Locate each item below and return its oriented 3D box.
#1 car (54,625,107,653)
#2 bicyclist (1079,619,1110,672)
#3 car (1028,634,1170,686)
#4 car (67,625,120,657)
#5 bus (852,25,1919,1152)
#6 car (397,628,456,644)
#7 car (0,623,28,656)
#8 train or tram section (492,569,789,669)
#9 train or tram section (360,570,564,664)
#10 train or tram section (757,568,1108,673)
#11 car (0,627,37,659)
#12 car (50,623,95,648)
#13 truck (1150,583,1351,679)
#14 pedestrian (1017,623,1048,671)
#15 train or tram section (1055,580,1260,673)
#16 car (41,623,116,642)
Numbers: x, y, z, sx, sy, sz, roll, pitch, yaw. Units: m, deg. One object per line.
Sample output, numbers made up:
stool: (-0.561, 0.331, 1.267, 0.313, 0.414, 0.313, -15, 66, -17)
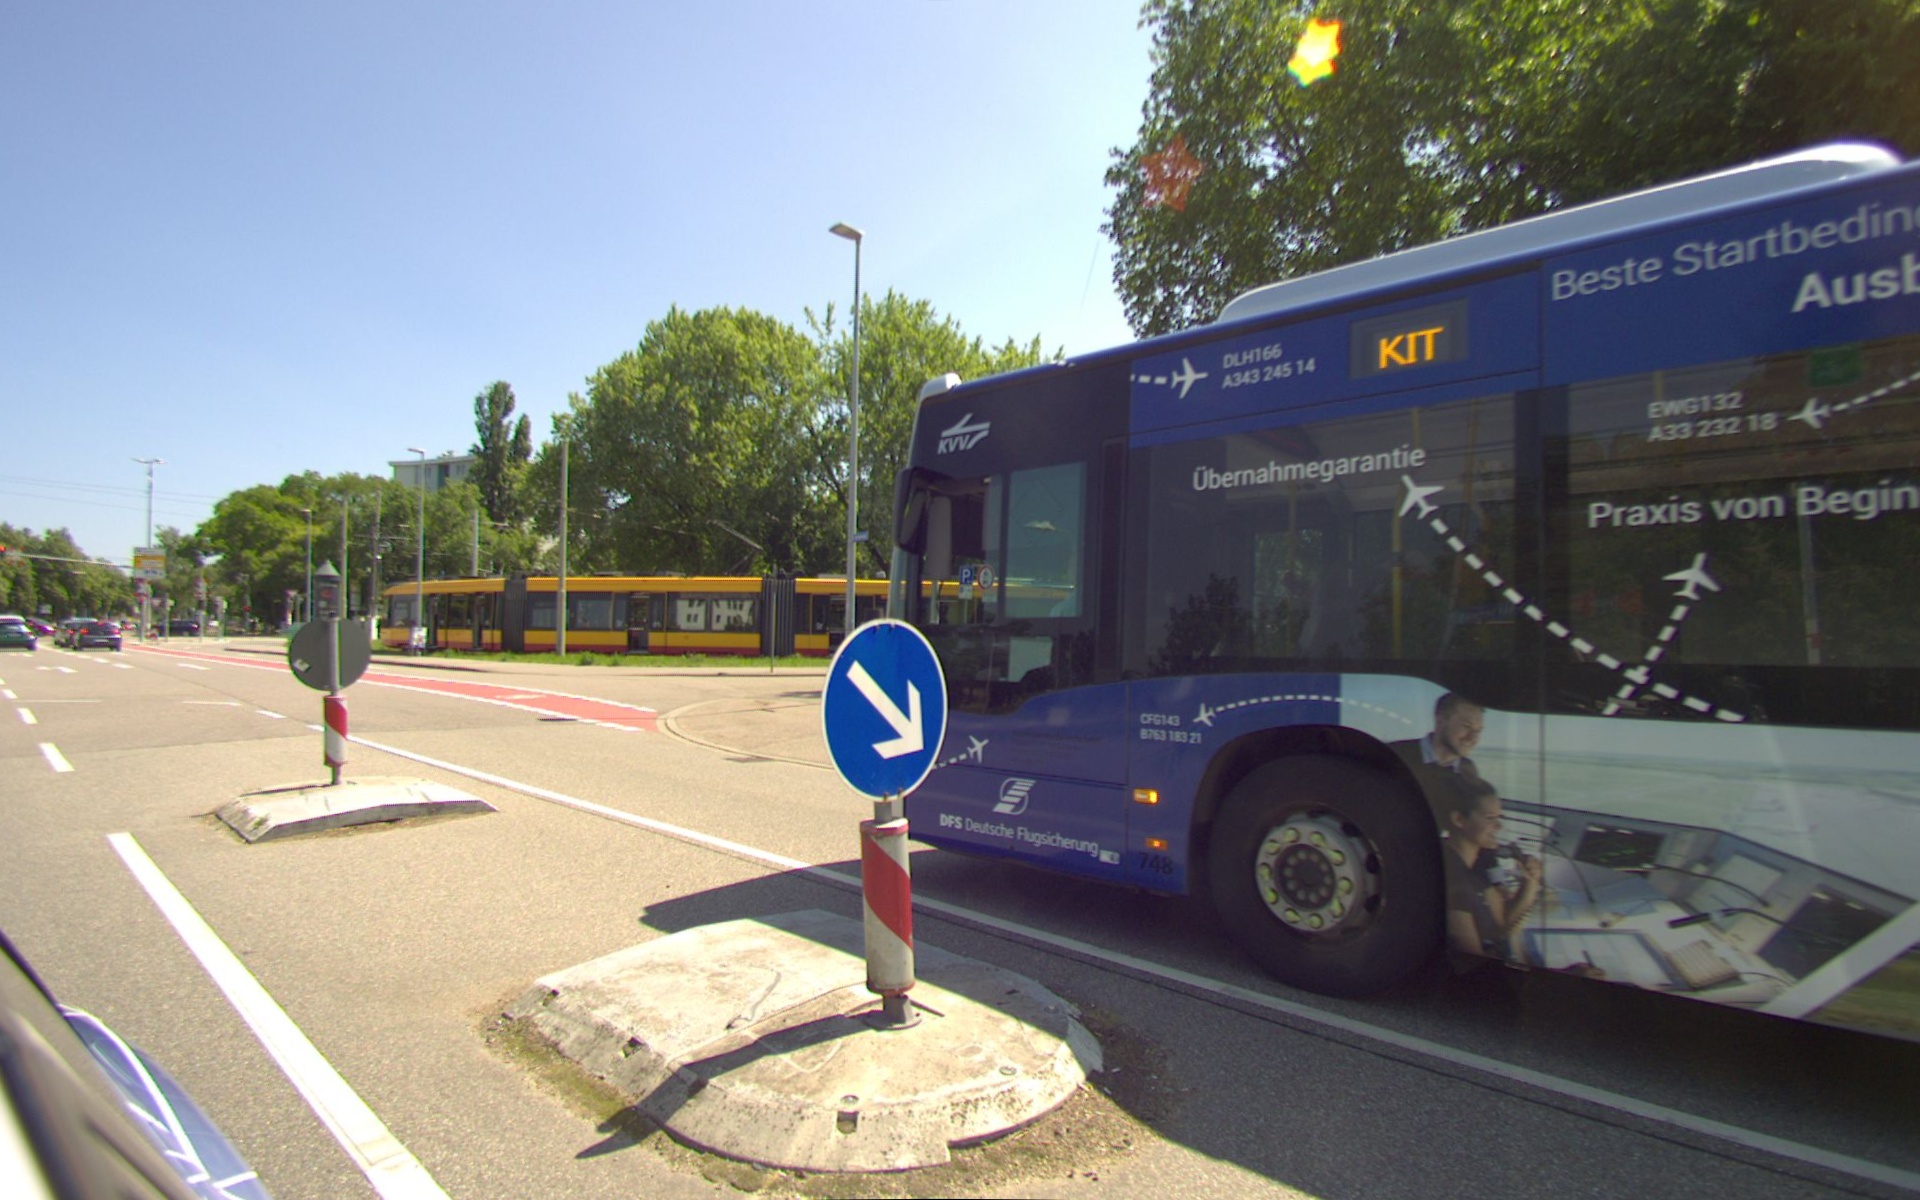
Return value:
car: (-47.878, 2.097, 55.054, 4.286, 1.468, 1.740, -2, -3, 44)
bicyclist: (4.503, 1.505, 33.805, 0.756, 1.719, 0.668, 0, -2, -36)
car: (4.217, 1.776, 30.338, 4.242, 1.428, 1.670, 2, -2, -37)
car: (-42.123, 1.969, 49.186, 3.503, 1.467, 1.603, -1, -4, 45)
bus: (4.713, 0.000, 2.614, 11.939, 3.068, 2.719, -1, -6, 43)
car: (-47.779, 3.255, 90.704, 4.337, 1.399, 1.880, 1, -3, -14)
car: (-50.957, 2.089, 53.803, 4.833, 1.736, 1.791, -2, -2, 45)
train or tram section: (-12.916, 0.774, 41.070, 11.500, 3.788, 3.013, 0, -3, 13)
train or tram section: (-22.994, 0.884, 46.192, 12.977, 3.788, 2.987, -2, -4, 39)
train or tram section: (-1.085, 0.954, 41.103, 13.814, 3.788, 3.033, 2, -3, -13)
car: (-45.684, 2.034, 48.693, 1.703, 1.474, 3.992, 1, -2, -44)
car: (-54.355, 2.156, 61.947, 1.770, 1.467, 4.415, 3, -3, -45)
truck: (9.891, 1.096, 34.117, 7.220, 2.932, 2.574, 3, -2, -36)
pedestrian: (2.615, 1.697, 36.623, 0.852, 1.723, 0.801, -2, -3, 32)
train or tram section: (9.684, 1.490, 47.277, 3.023, 3.788, 14.003, -2, -4, 40)
car: (-74.293, 2.753, 85.360, 4.337, 1.588, 1.880, 1, -3, -14)
